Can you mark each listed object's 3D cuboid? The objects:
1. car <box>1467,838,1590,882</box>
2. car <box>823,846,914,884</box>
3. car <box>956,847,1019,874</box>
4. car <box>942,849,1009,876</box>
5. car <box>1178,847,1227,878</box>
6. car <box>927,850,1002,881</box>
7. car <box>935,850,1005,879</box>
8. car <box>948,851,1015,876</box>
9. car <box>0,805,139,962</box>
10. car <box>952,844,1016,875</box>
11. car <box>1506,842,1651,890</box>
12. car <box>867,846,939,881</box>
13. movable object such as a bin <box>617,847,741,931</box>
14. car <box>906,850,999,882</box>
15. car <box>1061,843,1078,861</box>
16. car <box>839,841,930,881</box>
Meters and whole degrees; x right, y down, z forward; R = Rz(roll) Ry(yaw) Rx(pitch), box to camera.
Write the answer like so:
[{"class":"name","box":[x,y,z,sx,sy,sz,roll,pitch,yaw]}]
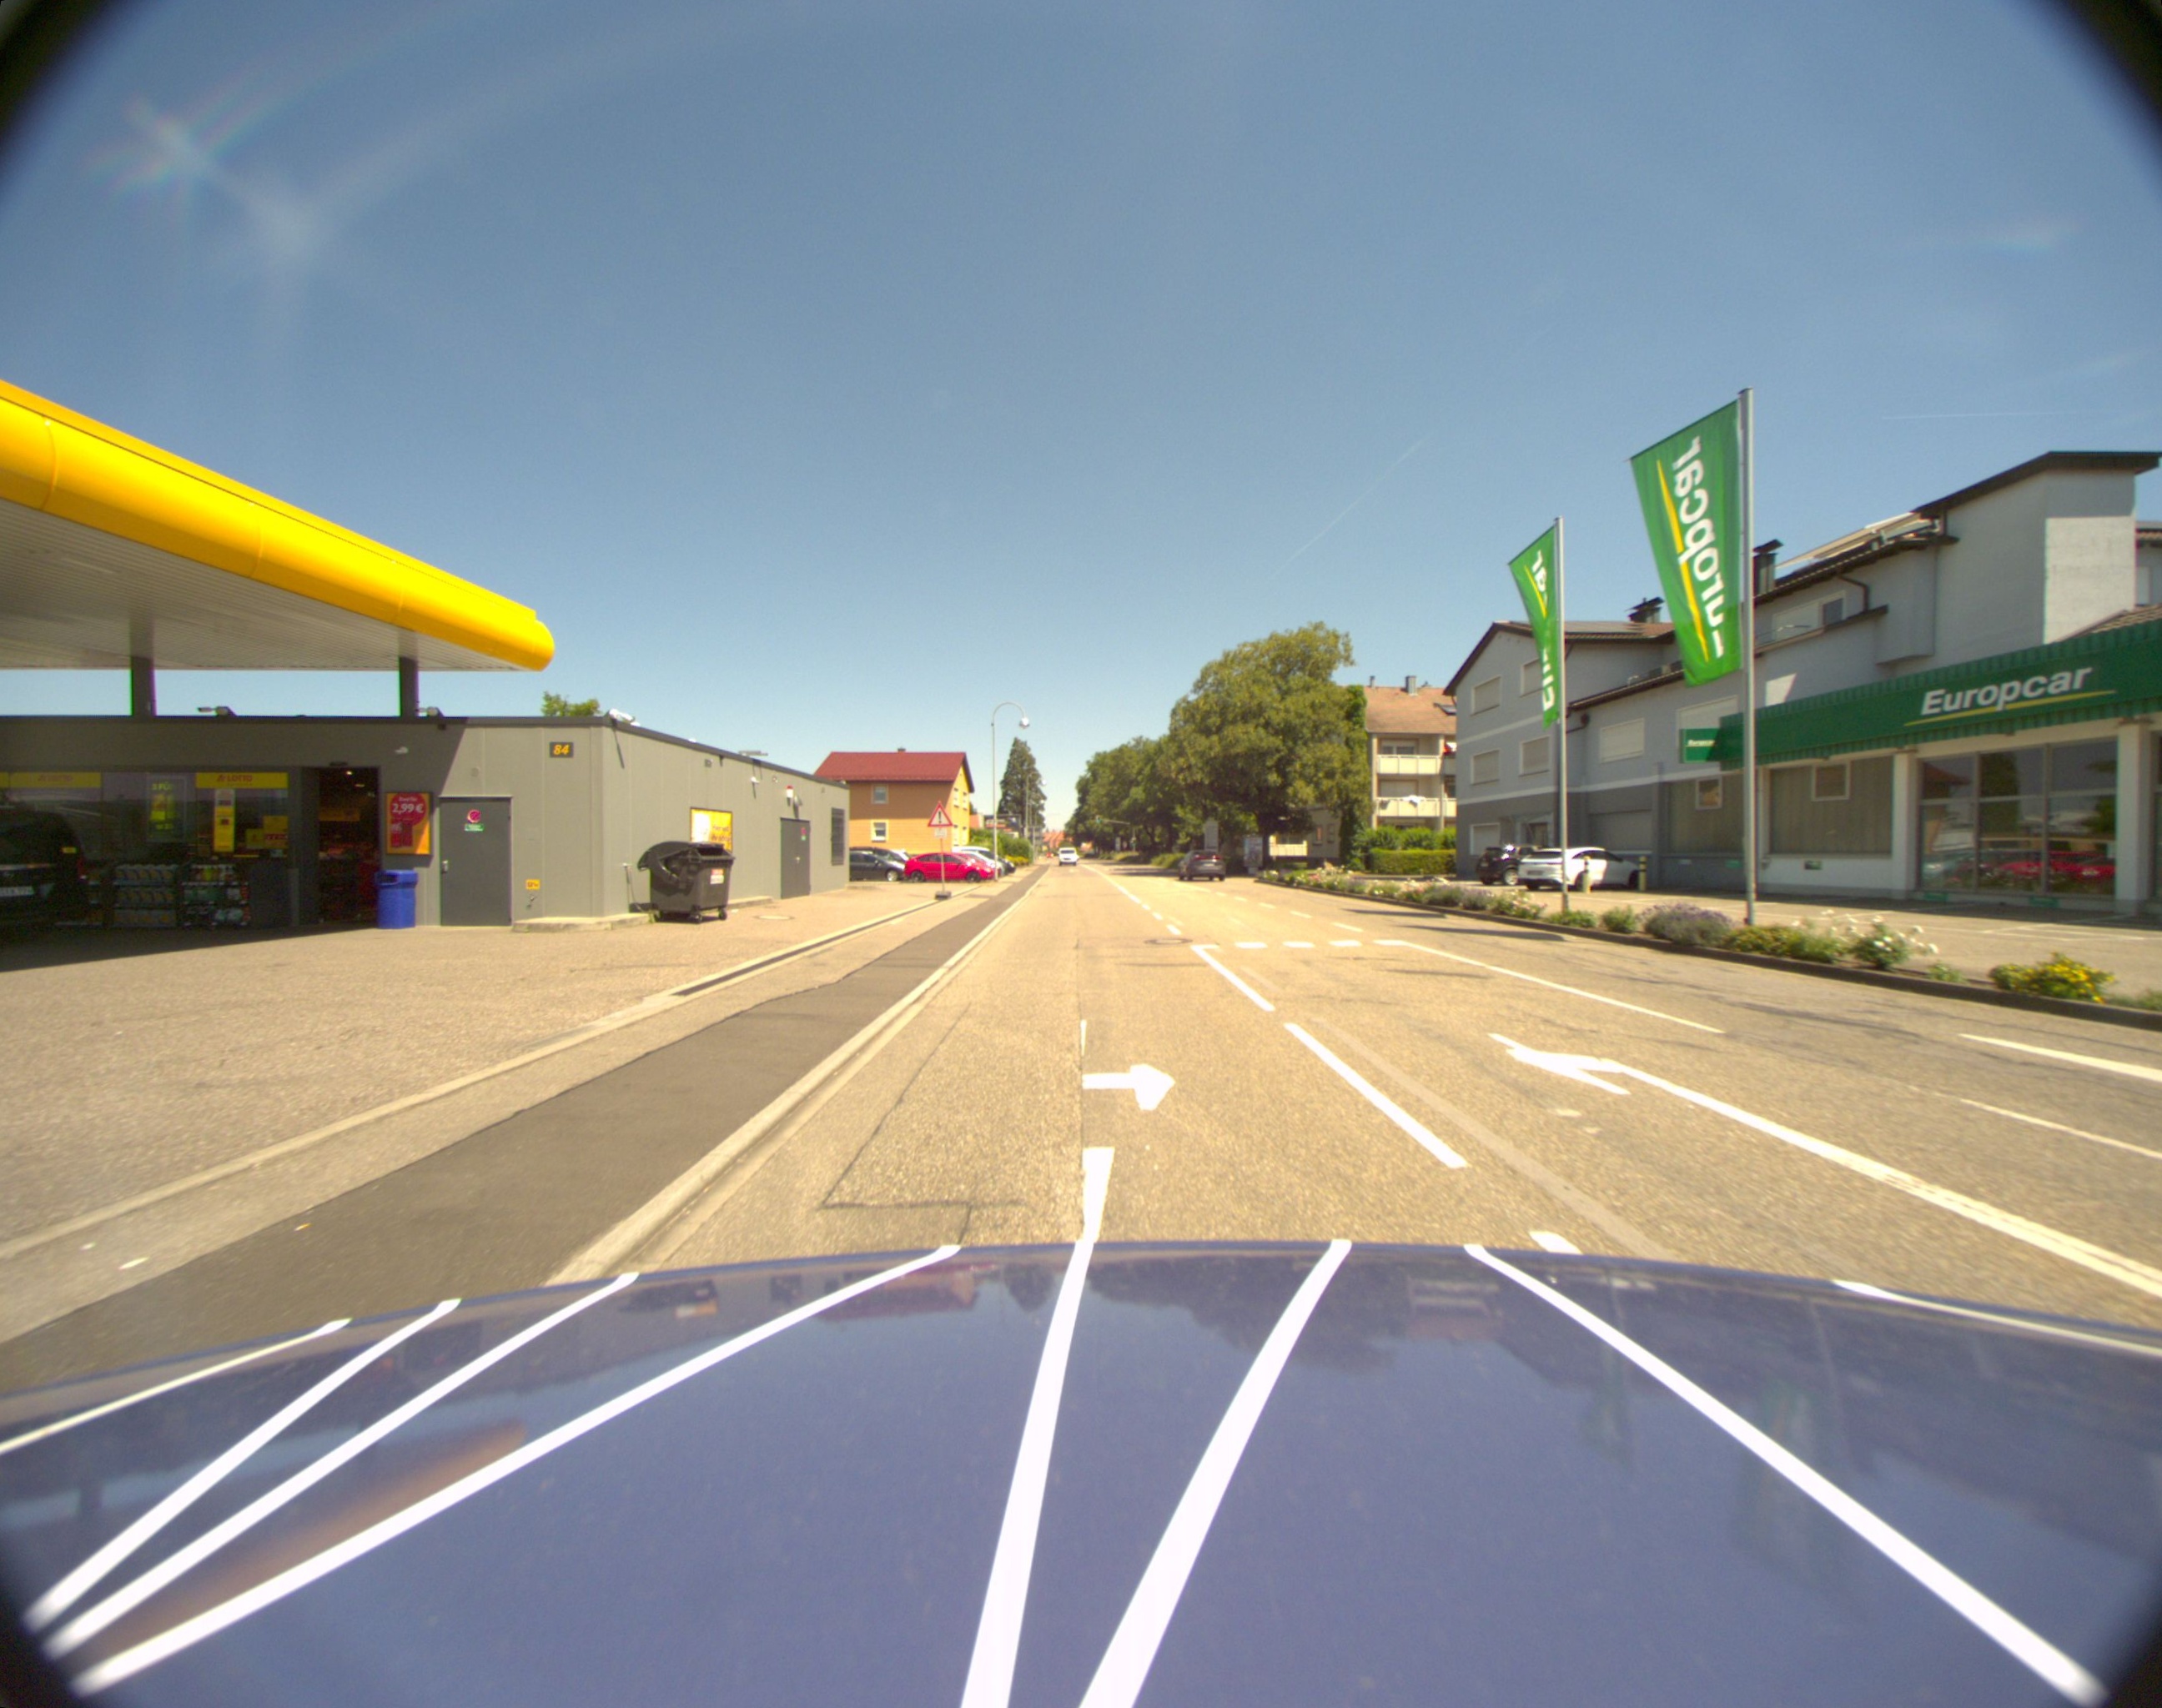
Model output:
[{"class":"car","box":[17.041,0.216,29.066,3.569,1.556,1.969,-1,1,-1]},{"class":"car","box":[-10.820,0.545,38.923,4.050,1.658,1.782,-4,1,-1]},{"class":"car","box":[-5.906,0.425,48.435,3.886,1.671,1.763,0,0,-4]},{"class":"car","box":[-6.085,0.491,44.038,3.694,1.557,1.641,0,0,-3]},{"class":"car","box":[6.136,0.397,38.708,1.767,1.518,4.137,0,0,-1]},{"class":"car","box":[-6.005,0.570,39.513,3.695,1.557,1.708,0,0,-4]},{"class":"car","box":[-6.039,0.572,41.819,3.695,1.557,1.749,0,0,-4]},{"class":"car","box":[-5.991,0.561,46.171,3.802,1.501,1.833,0,0,0]},{"class":"car","box":[-16.021,0.406,9.874,5.062,1.964,2.000,-1,1,1]},{"class":"car","box":[-6.415,0.363,50.520,4.147,1.927,1.807,-1,0,-6]},{"class":"car","box":[16.499,0.342,25.202,4.359,1.431,1.936,-1,1,-23]},{"class":"car","box":[-10.793,0.564,46.265,3.903,1.827,1.688,-4,1,1]},{"class":"movable object such as a bin","box":[-7.194,0.594,13.715,1.438,1.429,1.467,1,1,0]},{"class":"car","box":[-6.210,0.570,37.041,4.236,1.526,1.958,0,0,-2]},{"class":"car","box":[-1.344,-0.255,85.450,1.796,1.904,3.639,-1,1,-2]},{"class":"car","box":[-10.624,0.371,41.389,4.352,1.885,1.971,-4,1,-3]}]
